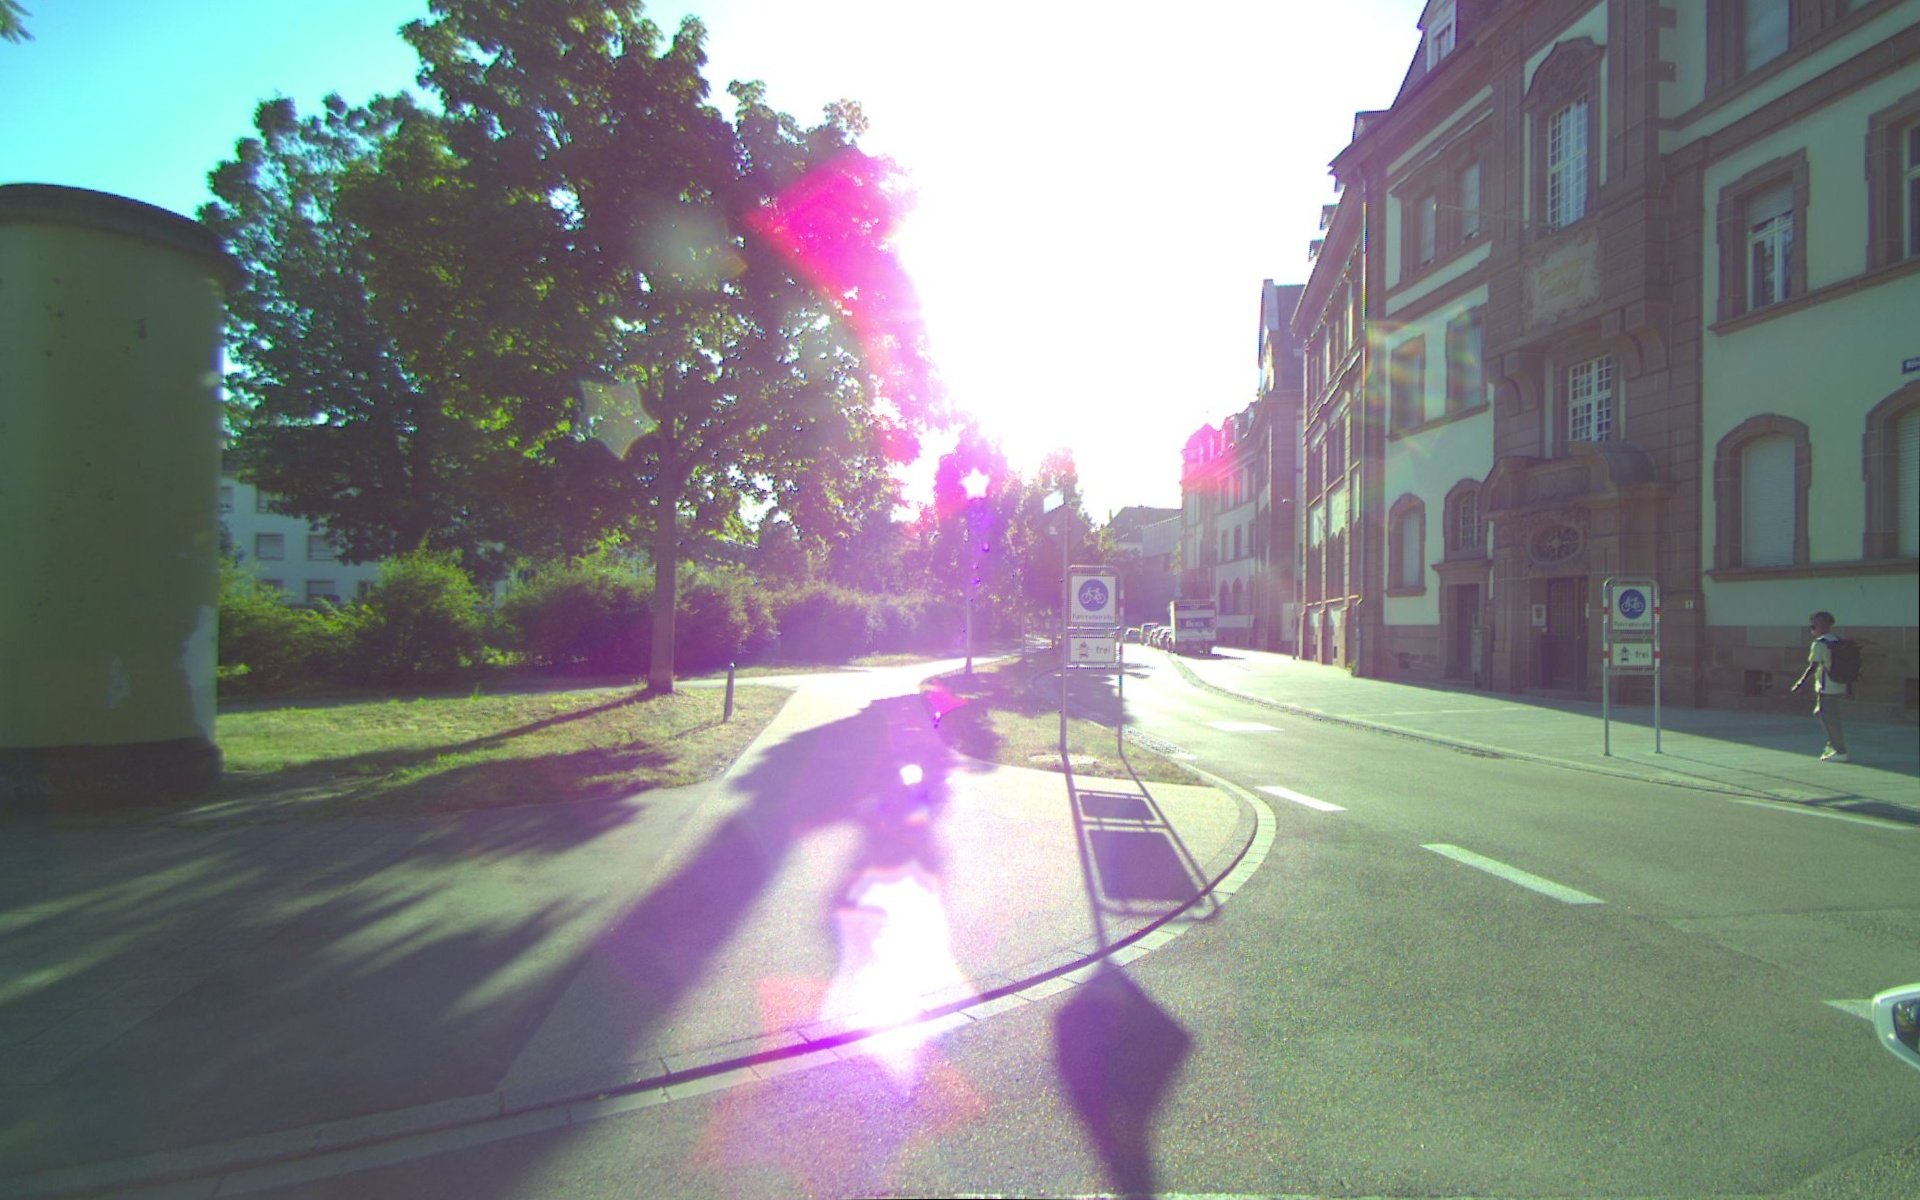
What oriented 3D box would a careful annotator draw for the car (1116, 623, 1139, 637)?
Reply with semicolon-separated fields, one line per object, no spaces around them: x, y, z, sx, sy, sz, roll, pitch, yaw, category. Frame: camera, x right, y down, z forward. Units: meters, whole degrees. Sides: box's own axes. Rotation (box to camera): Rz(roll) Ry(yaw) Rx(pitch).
17.913;3.218;107.485;1.718;1.486;4.478;1;-1;0;car

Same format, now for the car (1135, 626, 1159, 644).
15.836;2.950;85.140;1.650;1.421;4.202;1;-1;6;car

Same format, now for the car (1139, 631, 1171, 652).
14.173;2.998;73.116;1.840;1.455;4.525;-1;-2;5;car

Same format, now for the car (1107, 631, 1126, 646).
18.322;4.462;117.661;1.695;1.691;4.114;-1;-1;1;car

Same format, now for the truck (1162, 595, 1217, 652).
13.536;1.409;59.606;2.579;3.162;6.091;1;-1;8;truck

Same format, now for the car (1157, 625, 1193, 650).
13.956;2.433;65.296;1.738;1.551;4.575;-1;-2;6;car

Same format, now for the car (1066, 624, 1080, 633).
17.800;4.465;157.982;1.663;1.459;3.549;0;-1;-3;car

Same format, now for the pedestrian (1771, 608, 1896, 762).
10.413;0.974;12.009;0.524;1.741;1.002;-2;0;-6;pedestrian

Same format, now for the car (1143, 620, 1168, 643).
18.497;3.021;95.174;1.960;1.991;4.853;-3;-2;7;car
